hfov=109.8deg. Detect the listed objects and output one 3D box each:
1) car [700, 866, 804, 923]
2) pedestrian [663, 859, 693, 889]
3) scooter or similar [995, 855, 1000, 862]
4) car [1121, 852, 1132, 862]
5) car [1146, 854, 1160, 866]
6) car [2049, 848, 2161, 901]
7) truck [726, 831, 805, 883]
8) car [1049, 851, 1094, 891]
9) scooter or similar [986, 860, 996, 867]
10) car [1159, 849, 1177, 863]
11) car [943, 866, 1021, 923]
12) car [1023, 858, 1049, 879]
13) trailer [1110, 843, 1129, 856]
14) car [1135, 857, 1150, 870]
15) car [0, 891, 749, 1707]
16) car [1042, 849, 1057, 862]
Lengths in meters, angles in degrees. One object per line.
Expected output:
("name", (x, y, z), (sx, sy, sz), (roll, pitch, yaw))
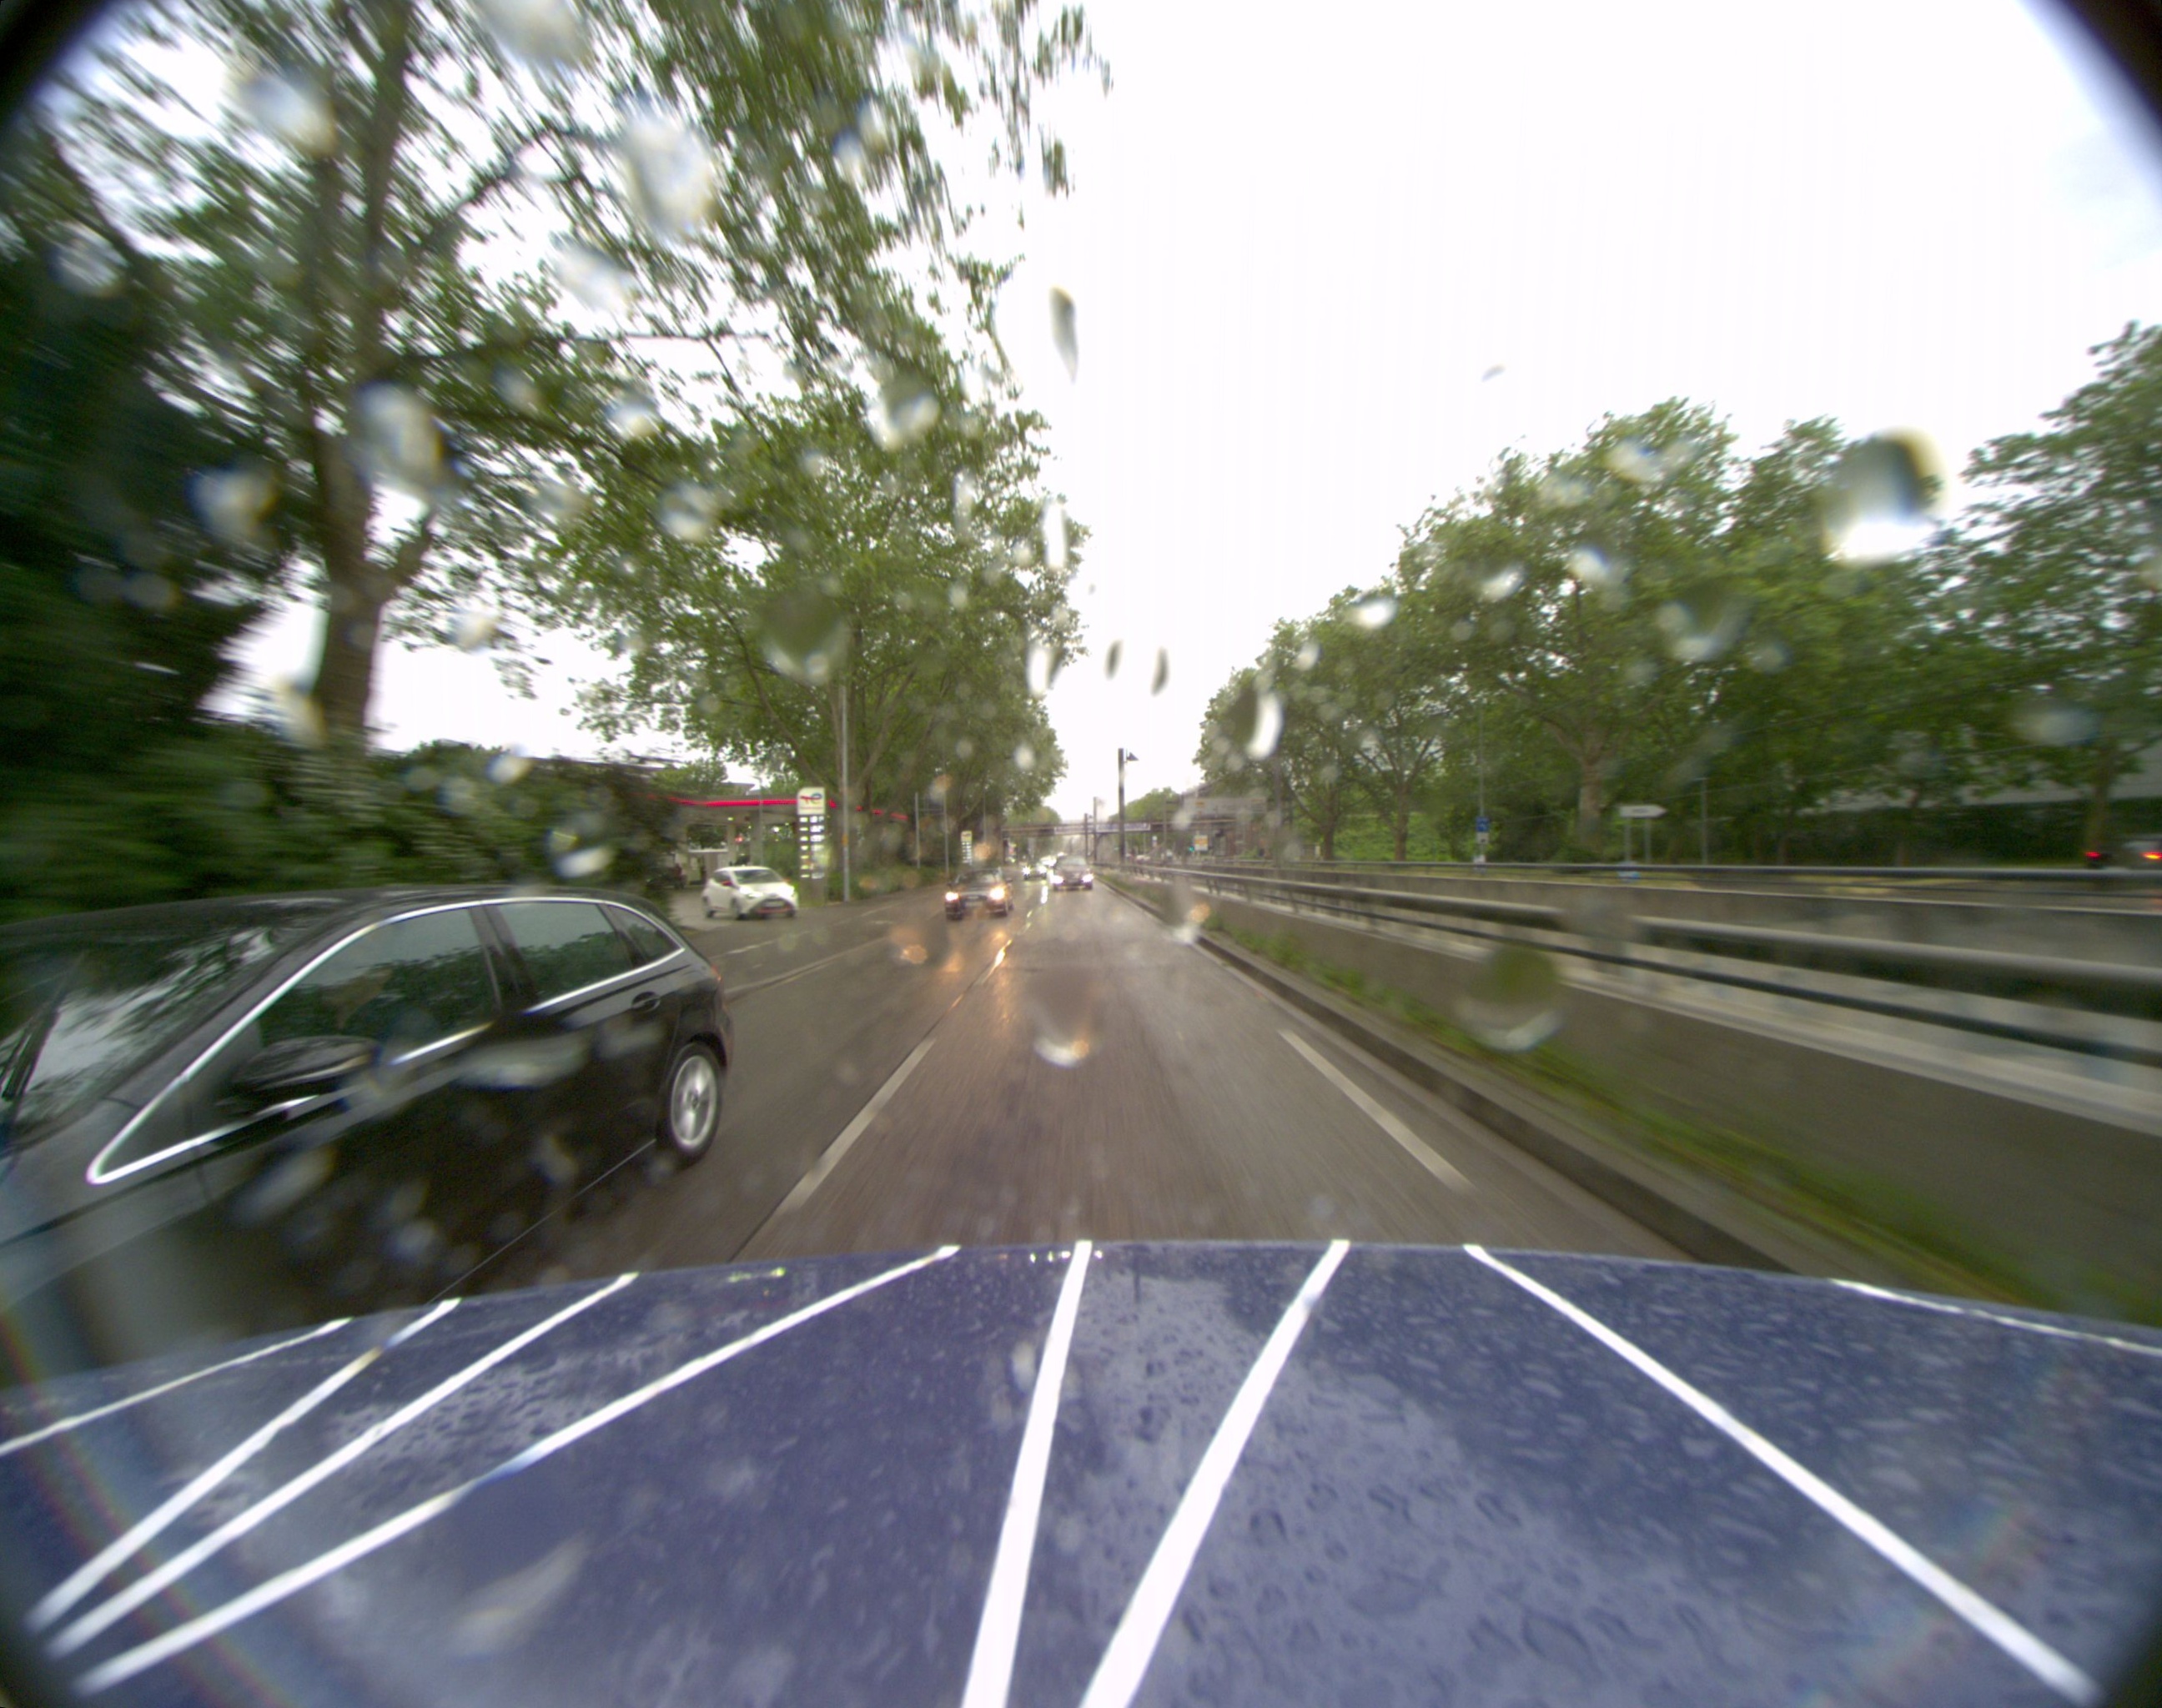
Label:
("car", (-9.483, 1.124, 21.771), (1.611, 1.423, 3.547), (-3, 1, -42))
("pedestrian", (-24.880, 1.224, 46.979), (1.224, 1.783, 1.064), (-1, 1, 1))
("scooter or similar", (-13.030, 0.713, 118.533), (0.453, 1.152, 1.828), (-3, 0, 6))
("car", (10.252, 0.642, 170.126), (1.999, 2.002, 4.509), (-3, 0, -1))
("car", (13.398, 1.094, 141.209), (1.999, 2.002, 3.999), (-3, 0, -1))
("car", (31.719, 0.569, 22.557), (3.793, 1.395, 1.999), (-1, 0, -7))
("truck", (-22.708, 0.190, 55.229), (2.701, 3.332, 7.767), (-3, 0, -3))
("car", (-0.407, 0.822, 37.609), (1.975, 1.794, 4.159), (-2, -1, 1))
("scooter or similar", (-13.816, 1.440, 116.801), (0.452, 1.004, 1.742), (-2, 1, 36))
("car", (13.361, 0.303, 117.254), (1.999, 2.002, 4.509), (-3, 0, -1))
("car", (-2.785, 1.108, 22.115), (1.641, 1.377, 3.782), (-3, 1, 1))
("car", (-3.483, 1.129, 59.954), (1.821, 1.520, 4.158), (-1, -1, -1))
("trailer", (10.626, -1.177, 210.218), (3.332, 3.241, 11.116), (-3, 0, -6))
("car", (10.354, 1.556, 128.265), (1.999, 2.002, 4.615), (-3, 0, -1))
("car", (-2.880, 1.036, 2.368), (1.821, 1.521, 4.420), (-3, 0, -2))
("car", (-4.369, 0.218, 106.103), (1.869, 1.688, 4.425), (-1, -1, -2))
